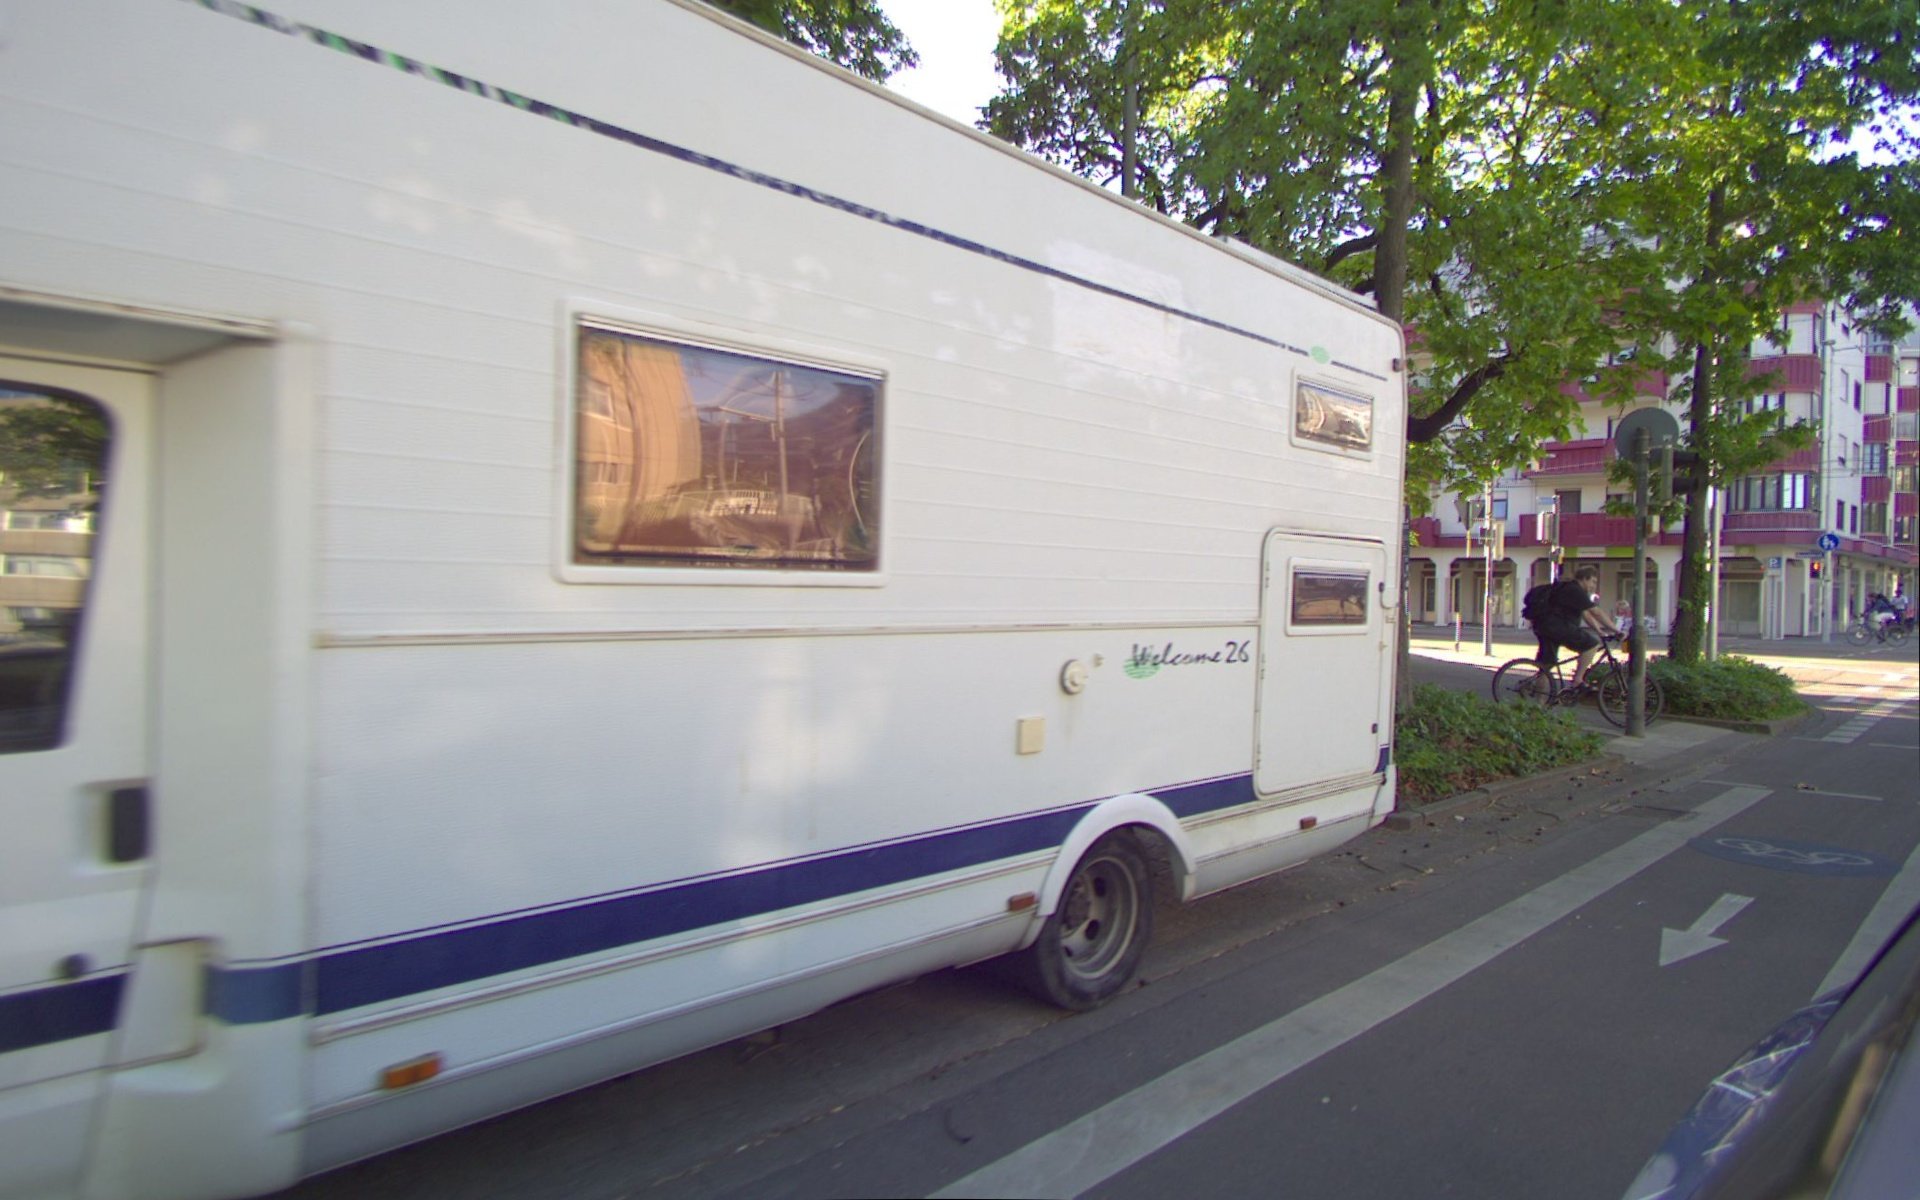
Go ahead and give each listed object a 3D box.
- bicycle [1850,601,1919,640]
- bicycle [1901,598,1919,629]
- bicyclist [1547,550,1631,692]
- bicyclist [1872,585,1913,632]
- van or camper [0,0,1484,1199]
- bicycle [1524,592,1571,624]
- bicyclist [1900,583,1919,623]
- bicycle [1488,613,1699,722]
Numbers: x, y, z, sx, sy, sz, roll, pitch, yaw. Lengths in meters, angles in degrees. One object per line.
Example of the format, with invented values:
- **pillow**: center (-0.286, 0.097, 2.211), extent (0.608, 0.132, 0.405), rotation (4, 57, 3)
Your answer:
- **bicycle**: center (30.443, 0.663, 33.033), extent (2.029, 1.204, 0.583), rotation (1, 0, 34)
- **bicycle**: center (38.487, 0.540, 40.645), extent (0.960, 1.198, 2.558), rotation (1, 1, 43)
- **bicyclist**: center (7.064, 0.221, 11.393), extent (0.695, 1.529, 0.745), rotation (1, 0, 26)
- **bicyclist**: center (30.436, 0.259, 33.046), extent (0.876, 1.513, 0.715), rotation (1, 0, 34)
- **van or camper**: center (-1.025, -0.260, 3.535), extent (7.419, 3.163, 2.381), rotation (0, 4, -41)
- **bicycle**: center (24.358, 0.319, 41.977), extent (0.603, 1.214, 1.802), rotation (1, 1, -12)
- **bicyclist**: center (38.433, 0.119, 40.582), extent (1.057, 1.559, 1.062), rotation (2, 1, 43)
- **bicycle**: center (7.059, 0.721, 11.404), extent (1.931, 1.083, 0.636), rotation (1, 1, 26)
